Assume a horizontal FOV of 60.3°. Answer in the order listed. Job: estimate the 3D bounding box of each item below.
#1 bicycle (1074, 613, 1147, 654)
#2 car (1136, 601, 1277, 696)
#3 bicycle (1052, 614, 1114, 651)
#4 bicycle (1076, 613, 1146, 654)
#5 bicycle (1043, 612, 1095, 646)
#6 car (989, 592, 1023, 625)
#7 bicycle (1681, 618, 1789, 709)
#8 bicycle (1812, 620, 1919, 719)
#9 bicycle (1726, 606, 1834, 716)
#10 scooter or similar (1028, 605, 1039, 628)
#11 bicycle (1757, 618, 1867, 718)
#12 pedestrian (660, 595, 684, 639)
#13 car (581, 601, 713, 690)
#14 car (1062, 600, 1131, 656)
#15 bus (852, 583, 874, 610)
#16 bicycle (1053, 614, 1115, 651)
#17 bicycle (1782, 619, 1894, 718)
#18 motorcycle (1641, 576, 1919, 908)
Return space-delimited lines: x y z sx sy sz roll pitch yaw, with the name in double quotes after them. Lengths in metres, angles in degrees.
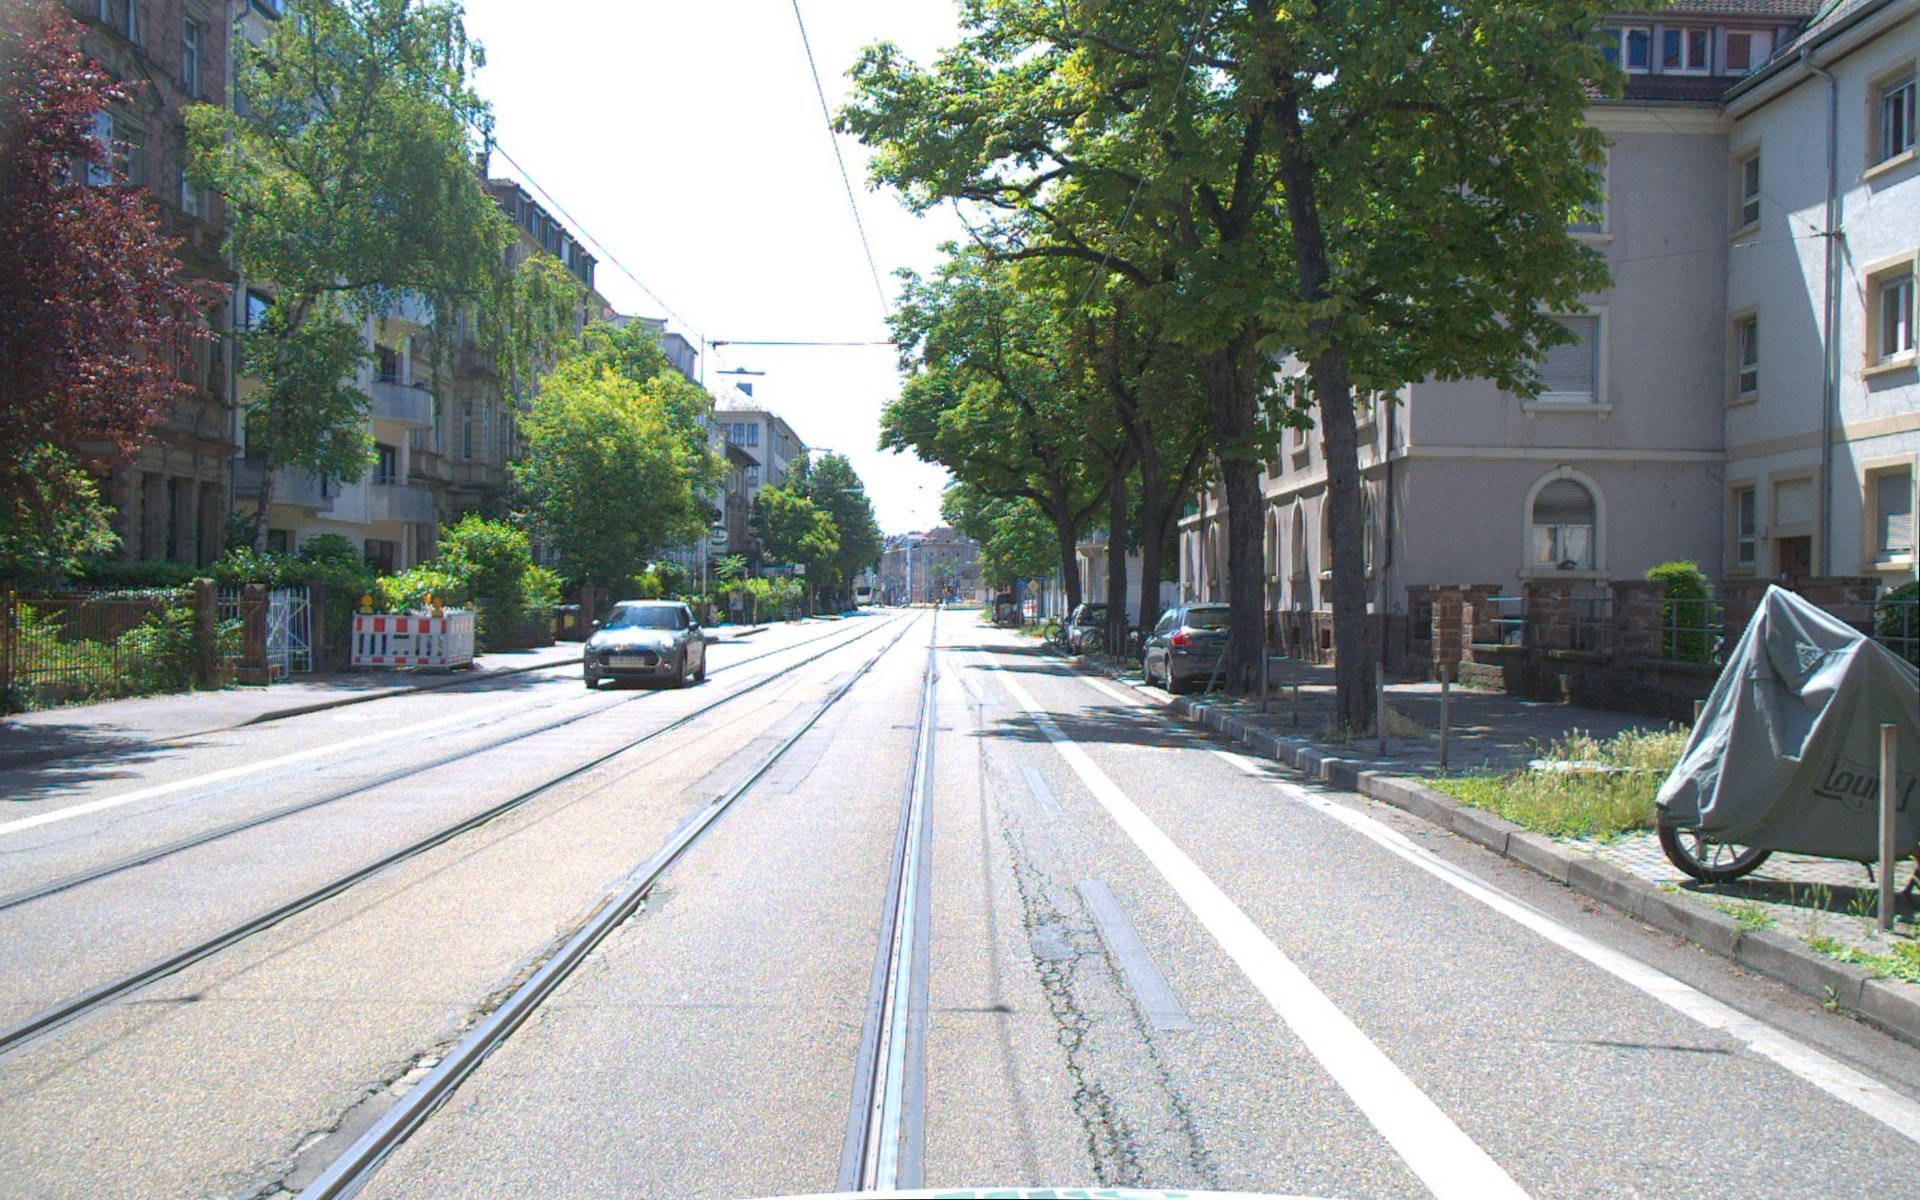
4.017 0.881 44.161 1.921 1.082 0.599 0 -1 6 "bicycle"
4.355 0.810 29.793 1.738 1.527 4.304 -1 0 -2 "car"
3.962 1.042 53.331 1.968 1.133 0.640 -1 -1 1 "bicycle"
3.996 0.880 43.726 1.849 1.070 0.538 0 -1 6 "bicycle"
3.801 1.009 57.826 1.779 1.133 0.493 -1 -1 -2 "bicycle"
2.947 0.500 106.939 1.953 2.071 4.696 0 0 -1 "car"
9.725 0.778 20.797 0.450 1.074 1.562 -1 0 -7 "bicycle"
10.562 0.790 19.264 0.450 1.074 1.564 -1 0 -1 "bicycle"
9.491 0.684 19.188 0.450 1.212 1.564 -1 0 -1 "bicycle"
4.215 0.941 94.736 0.491 1.251 1.573 1 0 -1 "scooter or similar"
9.862 0.765 19.200 0.450 1.074 1.564 -1 0 -1 "bicycle"
-10.859 0.628 62.387 0.735 1.657 0.833 0 0 1 "pedestrian"
-5.450 0.755 29.191 1.652 1.480 3.748 0 0 -1 "car"
3.937 0.804 48.174 1.589 1.473 3.809 -3 -1 -1 "car"
-15.486 -0.483 264.804 2.871 4.006 11.271 2 -1 -1 "bus"
3.946 1.041 52.730 1.922 1.133 0.599 -1 -1 1 "bicycle"
10.187 0.777 19.245 0.450 1.074 1.564 -1 0 -1 "bicycle"
4.700 0.668 8.228 2.279 1.567 0.864 0 0 42 "motorcycle"
